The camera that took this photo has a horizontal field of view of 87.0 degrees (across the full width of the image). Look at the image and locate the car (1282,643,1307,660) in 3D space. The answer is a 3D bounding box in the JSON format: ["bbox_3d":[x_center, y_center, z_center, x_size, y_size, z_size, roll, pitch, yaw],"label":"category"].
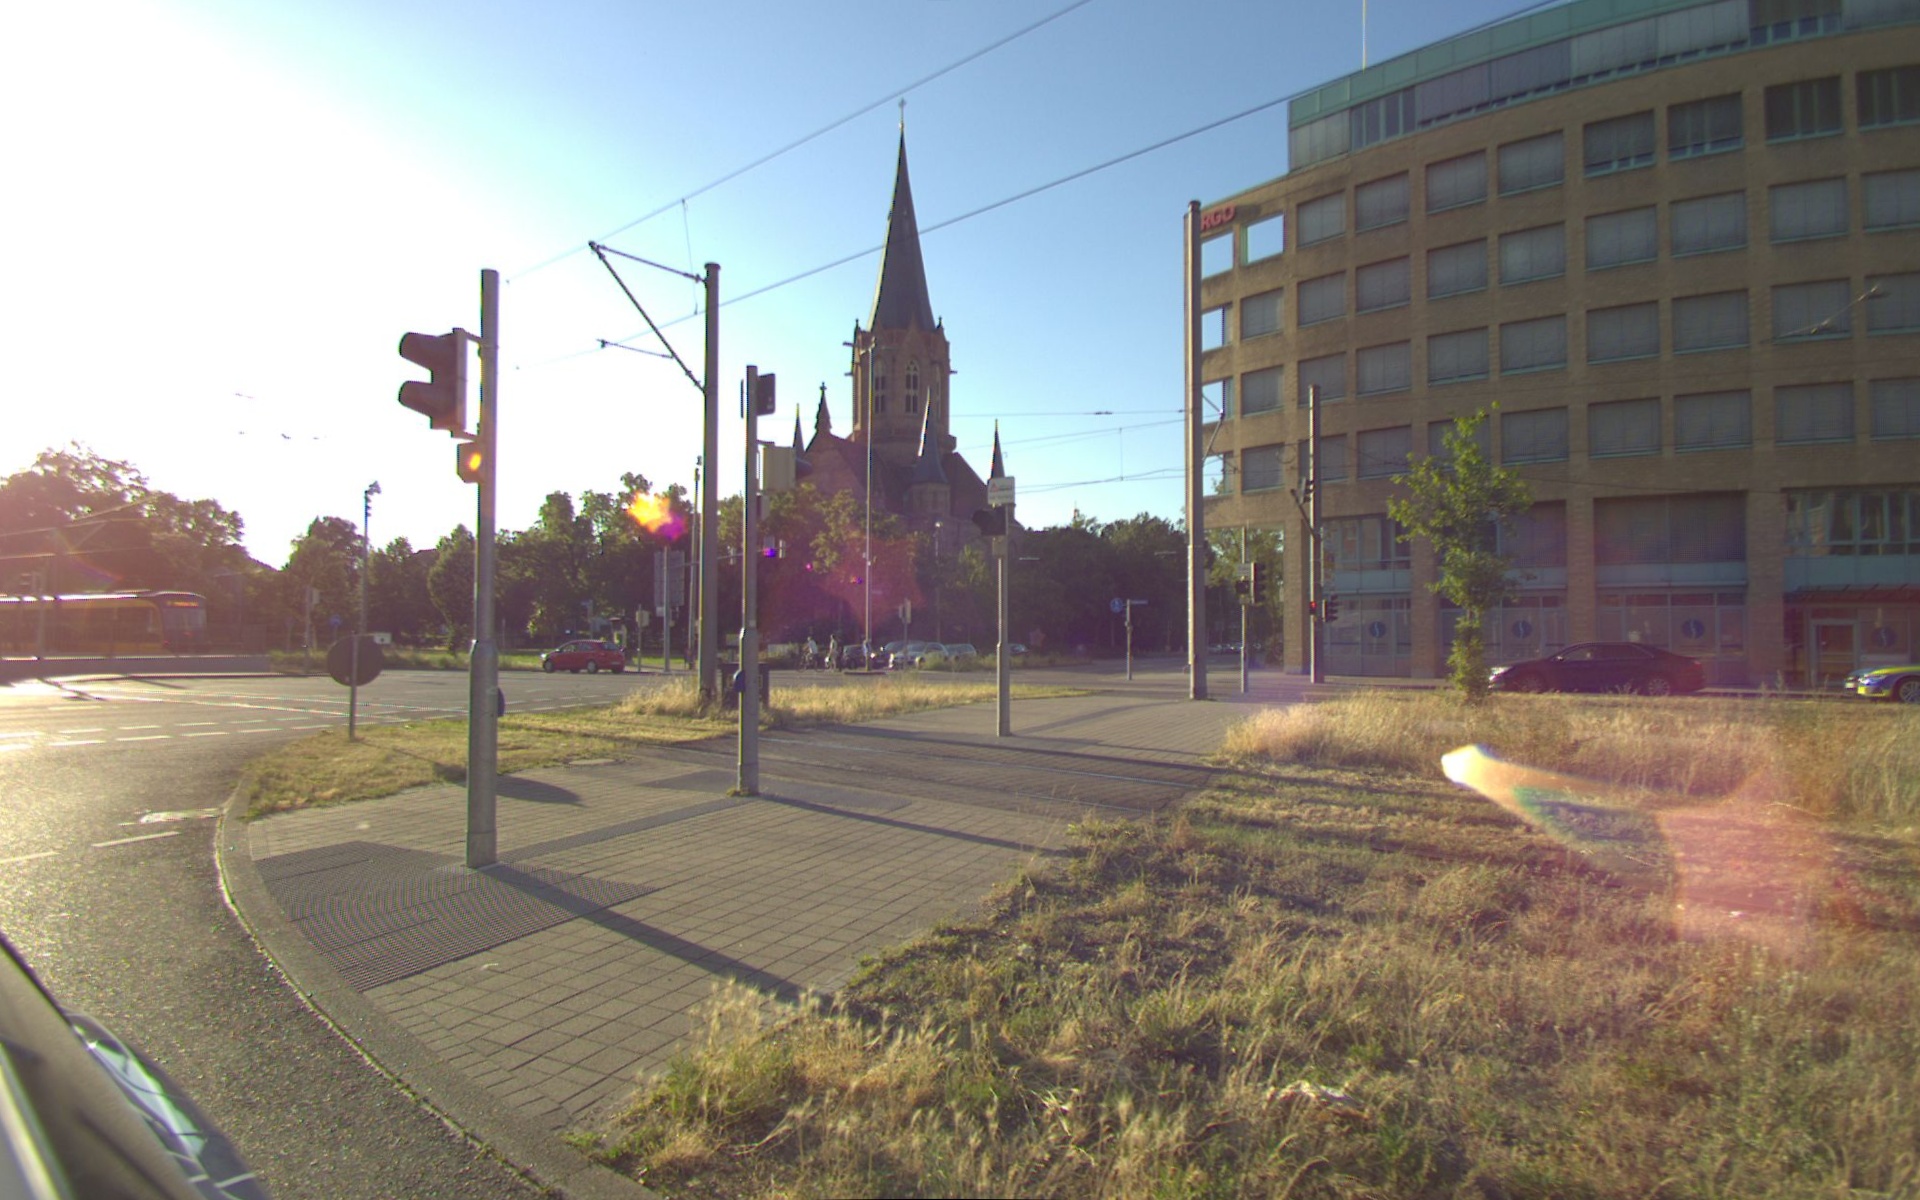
[{"bbox_3d":[40.213,6.164,121.595,2.221,2.029,4.561,-2,-3,25],"label":"car"}]

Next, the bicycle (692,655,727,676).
[{"bbox_3d":[-12.768,3.349,51.564,1.920,1.034,0.455,-2,-2,27],"label":"bicycle"}]

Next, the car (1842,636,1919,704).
[{"bbox_3d":[23.081,1.551,22.557,4.754,1.492,1.879,-1,-3,25],"label":"car"}]

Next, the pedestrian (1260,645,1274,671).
[{"bbox_3d":[18.369,3.452,60.542,0.579,1.567,0.737,-2,-3,33],"label":"pedestrian"}]

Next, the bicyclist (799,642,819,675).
[{"bbox_3d":[-7.364,2.843,49.379,0.813,1.595,0.519,-1,-2,14],"label":"bicyclist"}]

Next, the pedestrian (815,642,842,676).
[{"bbox_3d":[-6.543,2.924,50.308,1.101,1.685,0.731,-2,-3,29],"label":"pedestrian"}]

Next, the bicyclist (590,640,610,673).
[{"bbox_3d":[-20.126,3.150,56.585,0.890,1.841,0.570,-2,-2,26],"label":"bicyclist"}]

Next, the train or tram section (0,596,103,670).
[{"bbox_3d":[-49.817,1.751,52.810,13.180,3.563,2.757,-1,-2,26],"label":"train or tram section"}]

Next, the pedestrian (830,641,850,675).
[{"bbox_3d":[-6.040,2.932,50.968,0.714,1.685,0.731,-2,-3,29],"label":"pedestrian"}]

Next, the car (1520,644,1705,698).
[{"bbox_3d":[16.583,1.783,25.958,3.769,1.292,1.714,-1,-3,27],"label":"car"}]

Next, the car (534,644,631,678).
[{"bbox_3d":[-16.524,2.651,44.317,3.859,1.425,1.717,-1,-3,22],"label":"car"}]

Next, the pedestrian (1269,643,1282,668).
[{"bbox_3d":[20.139,3.515,64.585,0.579,1.567,0.737,-2,-3,33],"label":"pedestrian"}]

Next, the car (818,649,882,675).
[{"bbox_3d":[-6.362,3.600,59.112,1.892,1.431,3.964,-1,-3,26],"label":"car"}]

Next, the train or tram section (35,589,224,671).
[{"bbox_3d":[-39.188,1.465,47.625,10.514,3.563,2.757,-1,-2,26],"label":"train or tram section"}]

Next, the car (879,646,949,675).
[{"bbox_3d":[-2.399,3.190,53.820,1.895,1.431,3.959,-1,-3,30],"label":"car"}]

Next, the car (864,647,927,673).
[{"bbox_3d":[-3.633,3.404,57.770,1.892,1.431,3.964,-1,-3,26],"label":"car"}]

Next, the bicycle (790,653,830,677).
[{"bbox_3d":[-7.335,3.186,49.374,1.901,1.155,0.458,-1,-1,14],"label":"bicycle"}]

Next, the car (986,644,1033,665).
[{"bbox_3d":[3.466,3.765,70.330,1.892,1.431,3.964,-1,-3,26],"label":"car"}]

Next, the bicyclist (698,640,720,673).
[{"bbox_3d":[-12.800,2.880,51.596,0.890,1.693,0.570,-2,-2,26],"label":"bicyclist"}]
